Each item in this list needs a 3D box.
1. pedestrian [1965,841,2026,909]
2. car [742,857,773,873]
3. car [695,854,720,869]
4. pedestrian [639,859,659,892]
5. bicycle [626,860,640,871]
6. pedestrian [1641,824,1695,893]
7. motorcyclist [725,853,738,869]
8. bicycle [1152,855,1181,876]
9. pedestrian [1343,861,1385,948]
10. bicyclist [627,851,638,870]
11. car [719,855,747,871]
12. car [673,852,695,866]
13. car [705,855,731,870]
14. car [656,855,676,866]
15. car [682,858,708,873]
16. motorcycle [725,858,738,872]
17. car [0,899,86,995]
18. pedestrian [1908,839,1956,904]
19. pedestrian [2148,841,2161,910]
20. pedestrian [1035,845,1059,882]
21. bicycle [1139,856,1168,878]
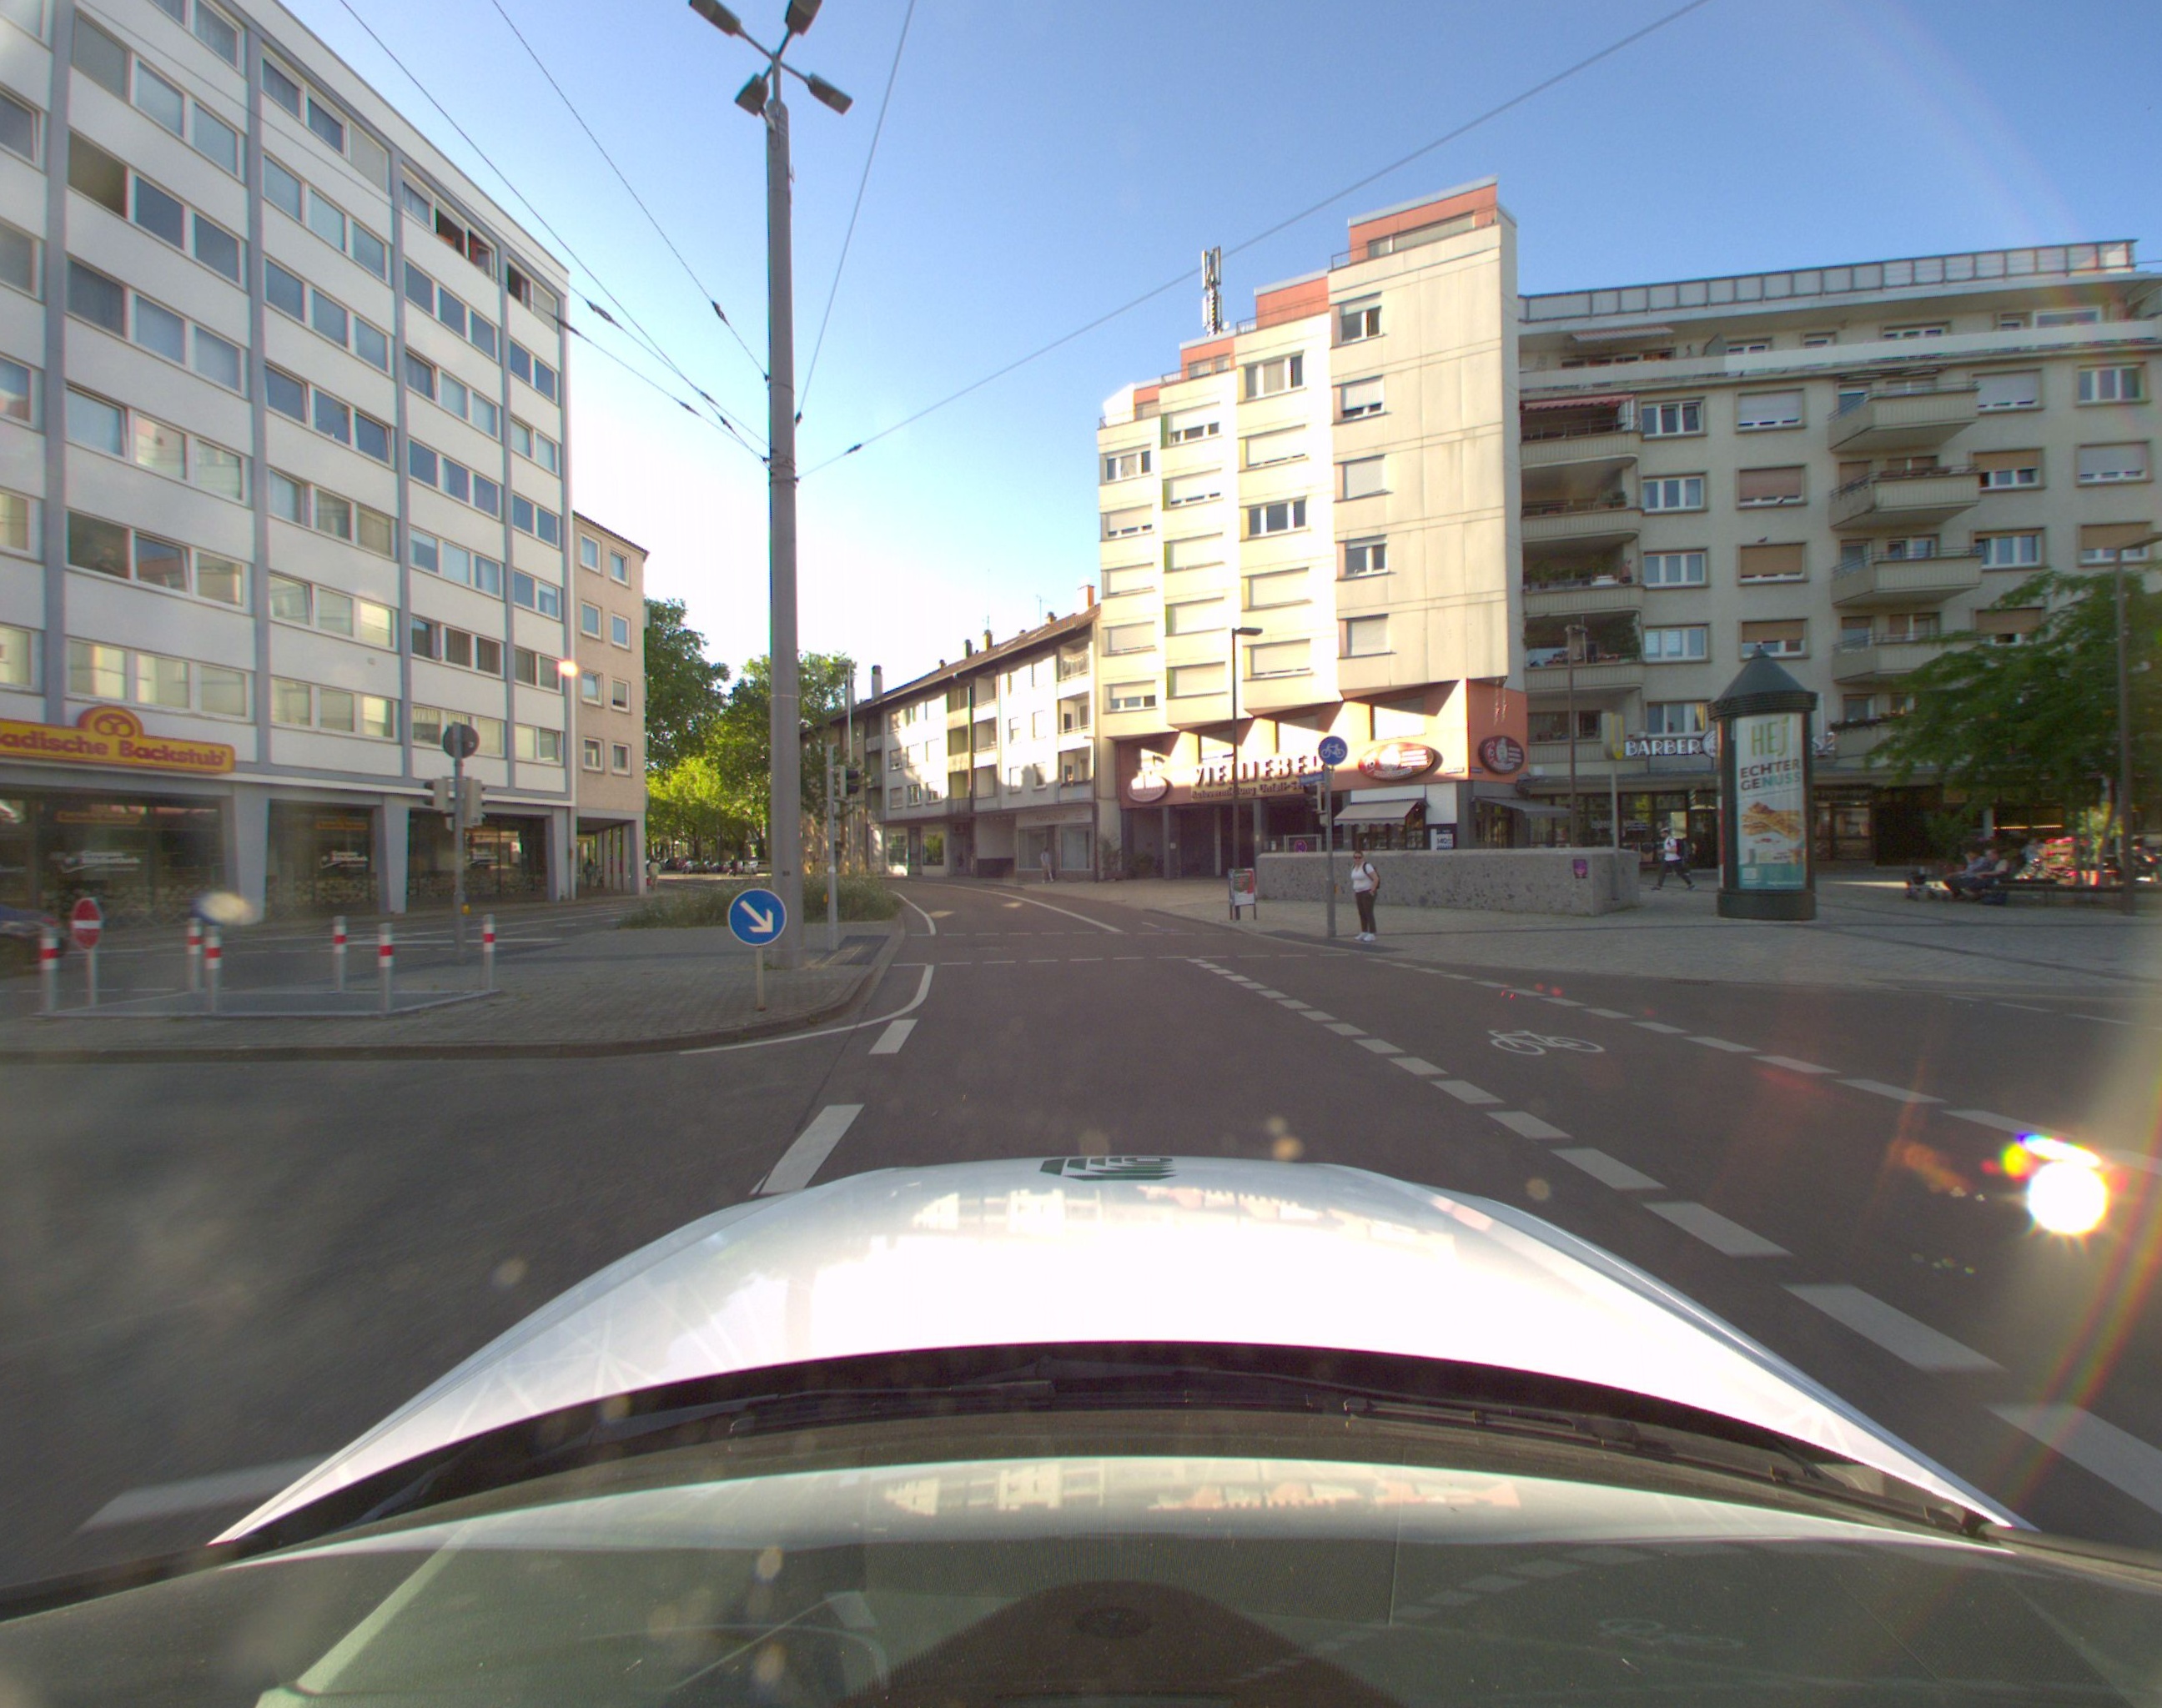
[{"bbox_3d":[20.025,0.429,17.854,0.711,1.419,0.935,1,3,39],"label":"pedestrian"},{"bbox_3d":[-34.479,1.190,86.703,2.049,1.504,4.048,-2,2,-38],"label":"car"},{"bbox_3d":[-48.249,0.958,105.279,2.049,1.719,4.048,-2,2,-38],"label":"car"},{"bbox_3d":[-23.560,1.160,44.436,0.812,1.724,0.767,-1,2,-41],"label":"pedestrian"},{"bbox_3d":[-49.396,1.263,89.732,0.822,1.139,2.311,-3,2,-41],"label":"bicycle"},{"bbox_3d":[16.404,0.118,22.763,1.035,1.866,0.689,-1,1,10],"label":"pedestrian"},{"bbox_3d":[-31.179,0.603,72.659,0.975,1.347,1.129,0,2,-25],"label":"motorcyclist"},{"bbox_3d":[4.373,0.577,41.837,0.498,1.038,1.620,-2,1,-37],"label":"bicycle"},{"bbox_3d":[5.375,0.935,15.465,0.543,1.583,0.551,-2,2,-35],"label":"pedestrian"},{"bbox_3d":[-49.398,0.707,89.710,0.822,1.947,0.847,-2,2,-42],"label":"bicyclist"},{"bbox_3d":[-41.015,1.033,95.822,2.049,1.616,4.048,-2,2,-38],"label":"car"},{"bbox_3d":[-56.368,0.664,115.519,2.049,1.934,4.047,-2,1,-38],"label":"car"},{"bbox_3d":[-44.719,1.025,100.336,2.049,1.758,4.048,-2,2,-38],"label":"car"},{"bbox_3d":[-63.363,0.979,124.292,2.049,1.742,4.047,-2,1,-38],"label":"car"},{"bbox_3d":[-41.969,1.237,88.513,1.938,1.388,3.957,-2,2,-36],"label":"car"},{"bbox_3d":[-31.091,0.992,72.451,0.978,1.131,2.782,0,2,-25],"label":"motorcycle"},{"bbox_3d":[-17.509,1.498,11.181,1.824,1.386,4.602,-1,1,5],"label":"car"},{"bbox_3d":[19.797,0.377,18.963,0.712,1.446,0.935,1,3,44],"label":"pedestrian"},{"bbox_3d":[21.935,0.449,15.905,0.716,1.364,1.108,-1,2,-1],"label":"pedestrian"},{"bbox_3d":[-1.747,0.490,41.910,0.737,1.854,0.937,-5,3,-38],"label":"pedestrian"},{"bbox_3d":[3.655,0.647,41.285,0.498,1.038,1.620,-2,3,-37],"label":"bicycle"}]
